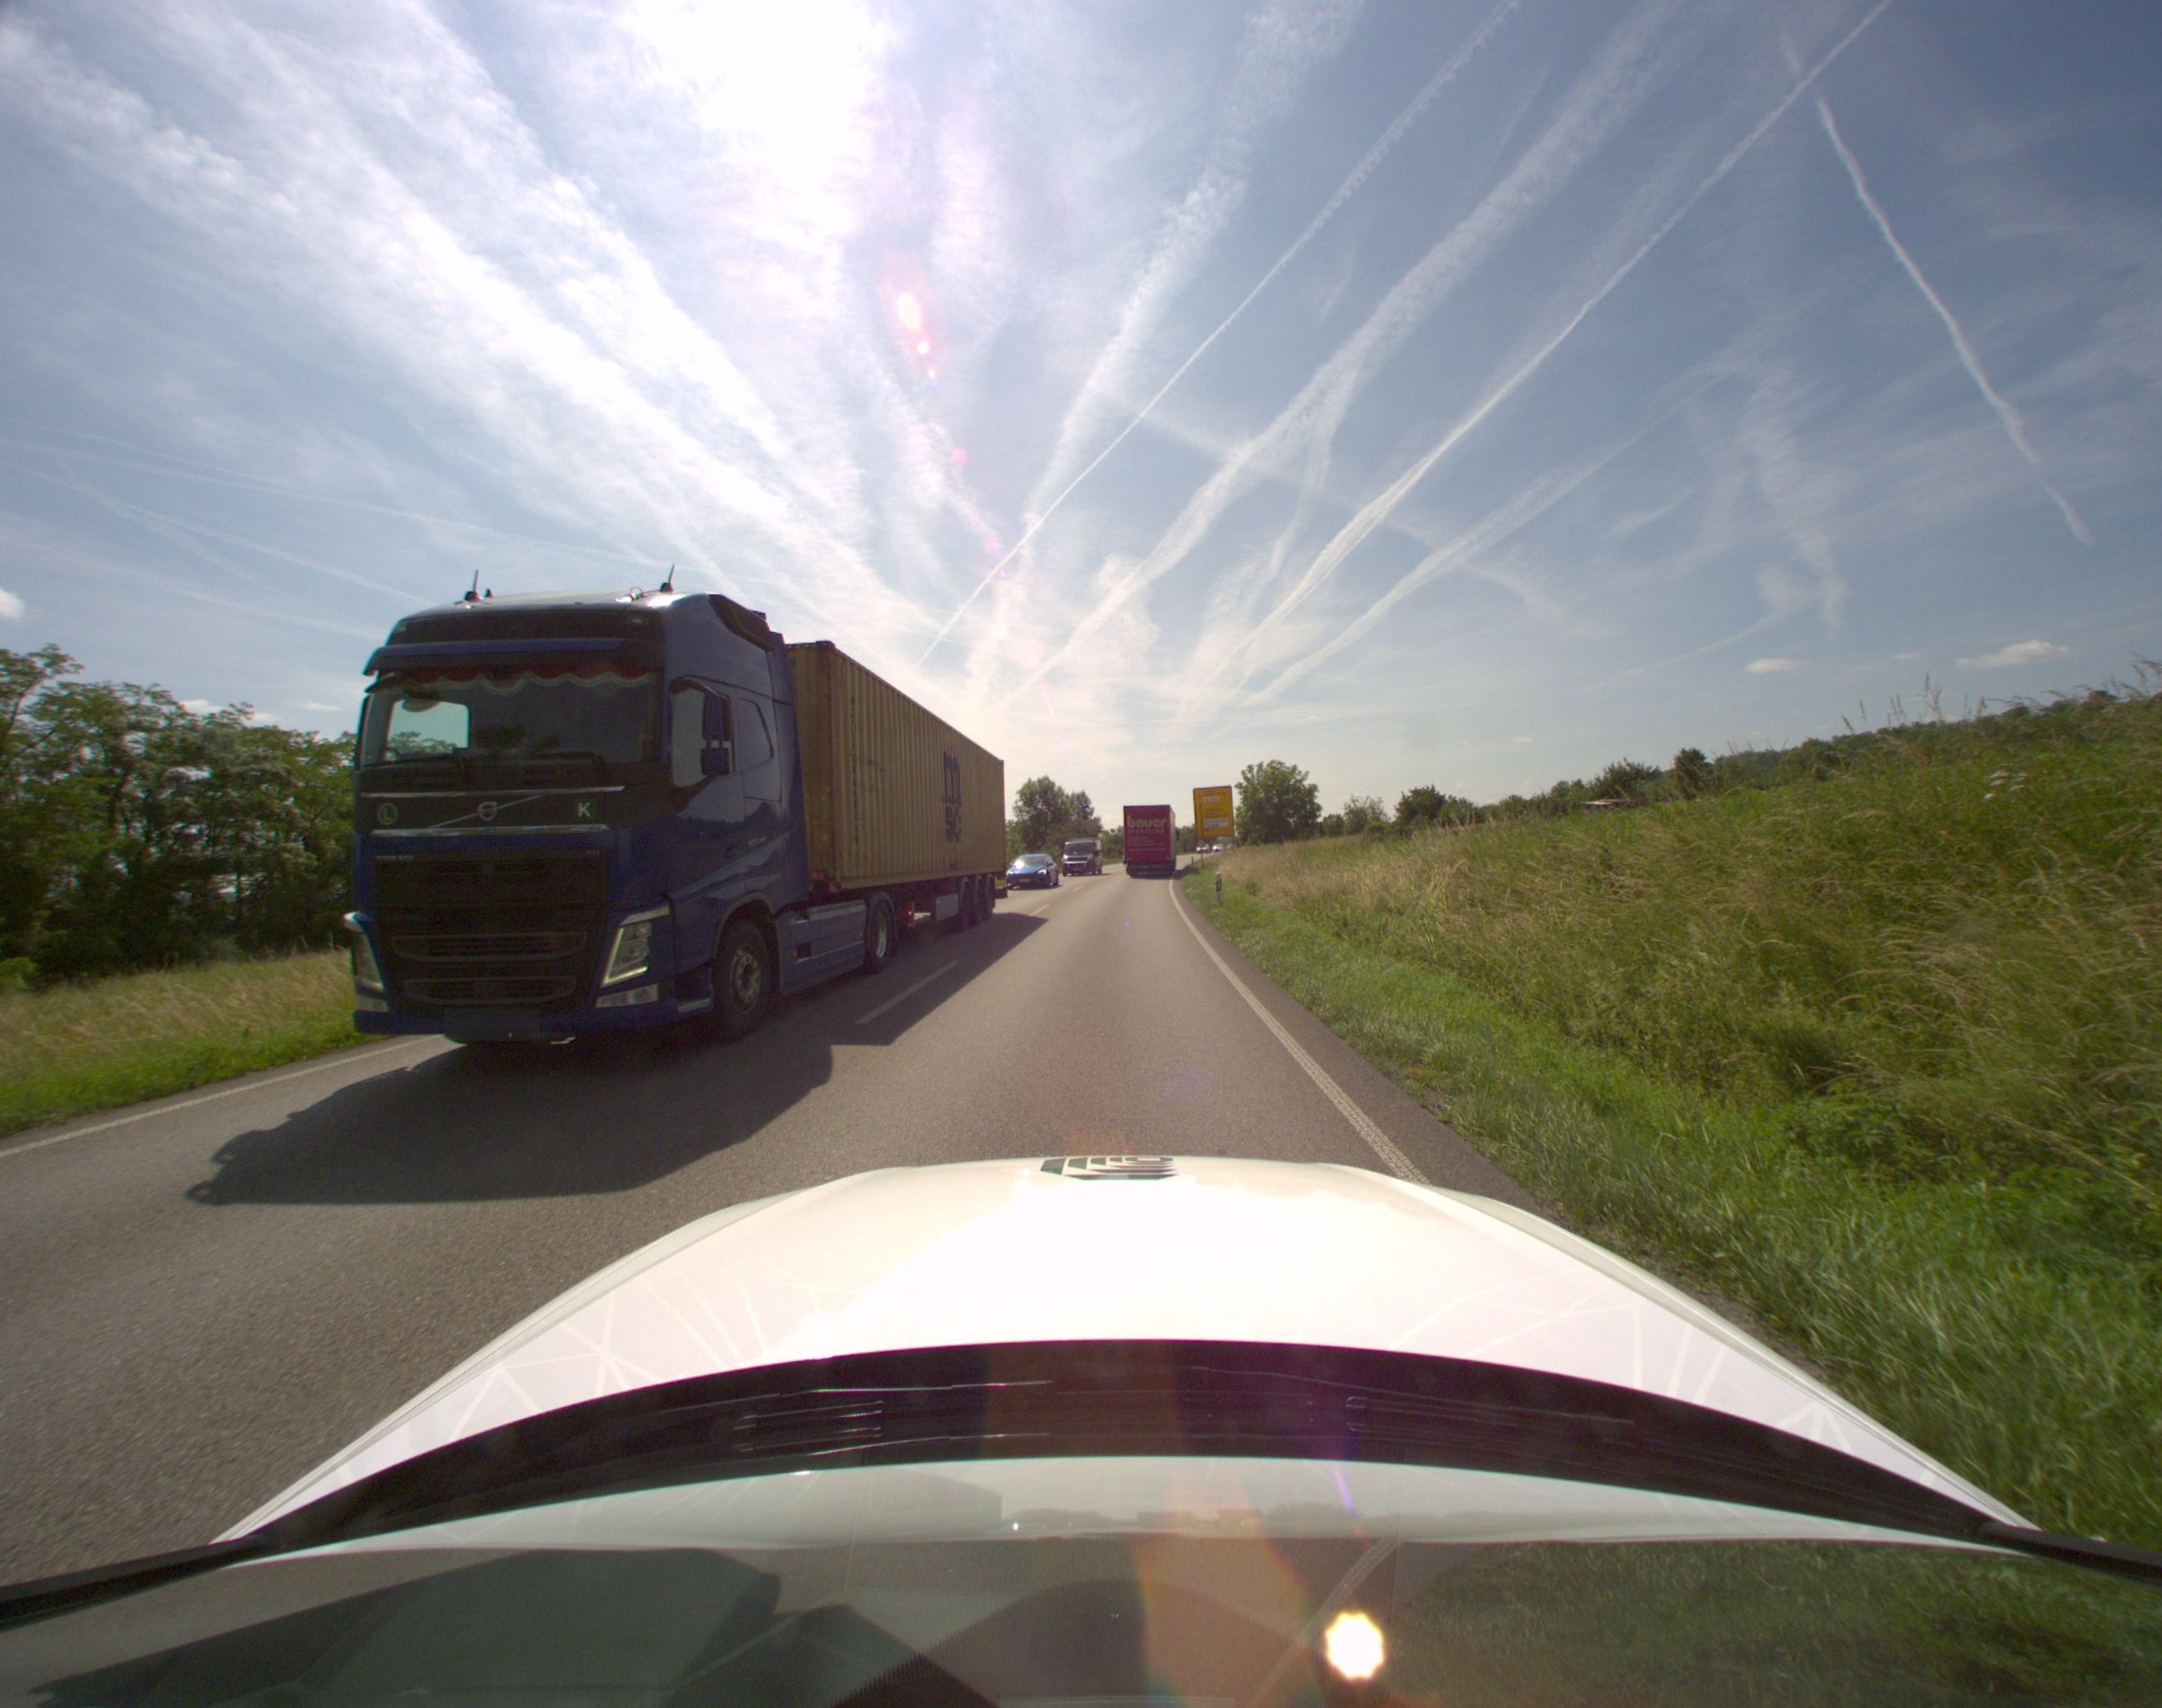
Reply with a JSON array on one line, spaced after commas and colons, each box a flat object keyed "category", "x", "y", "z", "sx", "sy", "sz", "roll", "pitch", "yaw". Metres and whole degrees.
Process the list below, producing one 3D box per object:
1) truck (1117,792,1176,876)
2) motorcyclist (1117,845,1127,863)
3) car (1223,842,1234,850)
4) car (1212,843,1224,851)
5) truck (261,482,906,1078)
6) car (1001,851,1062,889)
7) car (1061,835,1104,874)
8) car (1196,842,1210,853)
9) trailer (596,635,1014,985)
[{"category": "truck", "x": 4.204, "y": -1.058, "z": 49.720, "sx": 3.096, "sy": 4.506, "sz": 12.190, "roll": 0, "pitch": 0, "yaw": 7}, {"category": "motorcyclist", "x": 4.052, "y": 0.013, "z": 80.275, "sx": 0.914, "sy": 1.718, "sz": 0.964, "roll": -2, "pitch": 0, "yaw": 7}, {"category": "car", "x": 31.103, "y": -1.729, "z": 171.554, "sx": 1.807, "sy": 1.398, "sz": 4.200, "roll": -5, "pitch": 0, "yaw": 16}, {"category": "car", "x": 26.417, "y": -1.343, "z": 156.641, "sx": 1.737, "sy": 1.414, "sz": 3.790, "roll": -2, "pitch": 1, "yaw": 16}, {"category": "truck", "x": -4.143, "y": -0.510, "z": 8.670, "sx": 2.794, "sy": 4.067, "sz": 5.991, "roll": -2, "pitch": 0, "yaw": 4}, {"category": "car", "x": -2.083, "y": 0.646, "z": 35.787, "sx": 1.853, "sy": 1.486, "sz": 4.367, "roll": -2, "pitch": 0, "yaw": 7}, {"category": "car", "x": 0.177, "y": -0.008, "z": 51.583, "sx": 2.159, "sy": 2.303, "sz": 4.915, "roll": -1, "pitch": 0, "yaw": 6}, {"category": "car", "x": 21.192, "y": -1.120, "z": 141.350, "sx": 1.819, "sy": 1.616, "sz": 4.382, "roll": -5, "pitch": 0, "yaw": 16}, {"category": "trailer", "x": -3.796, "y": -0.538, "z": 16.027, "sx": 2.984, "sy": 4.043, "sz": 12.930, "roll": -1, "pitch": 0, "yaw": 4}]
